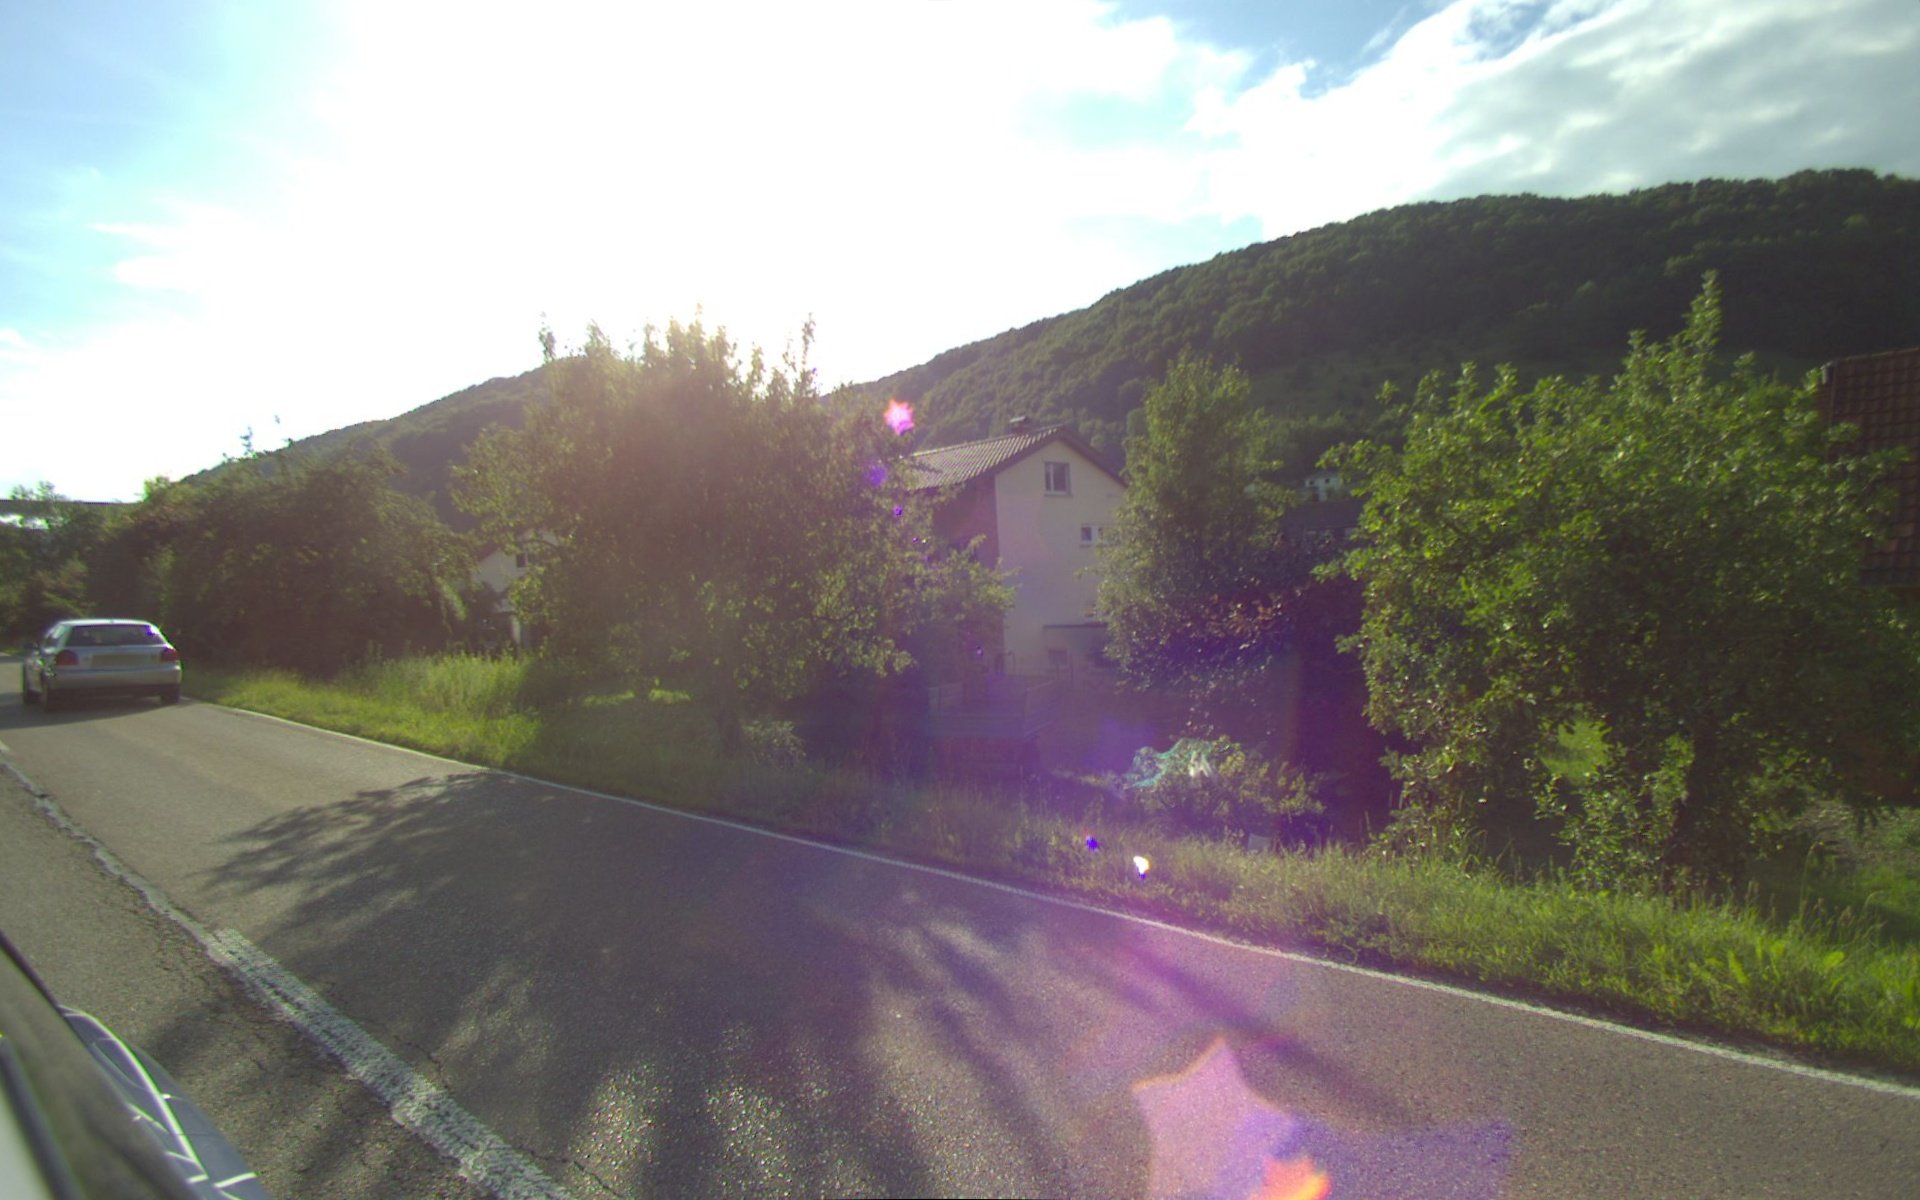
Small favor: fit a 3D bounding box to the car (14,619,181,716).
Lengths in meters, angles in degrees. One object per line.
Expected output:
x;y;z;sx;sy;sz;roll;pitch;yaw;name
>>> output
-14.364;1.027;16.797;3.663;1.420;1.674;-1;-1;42;car
